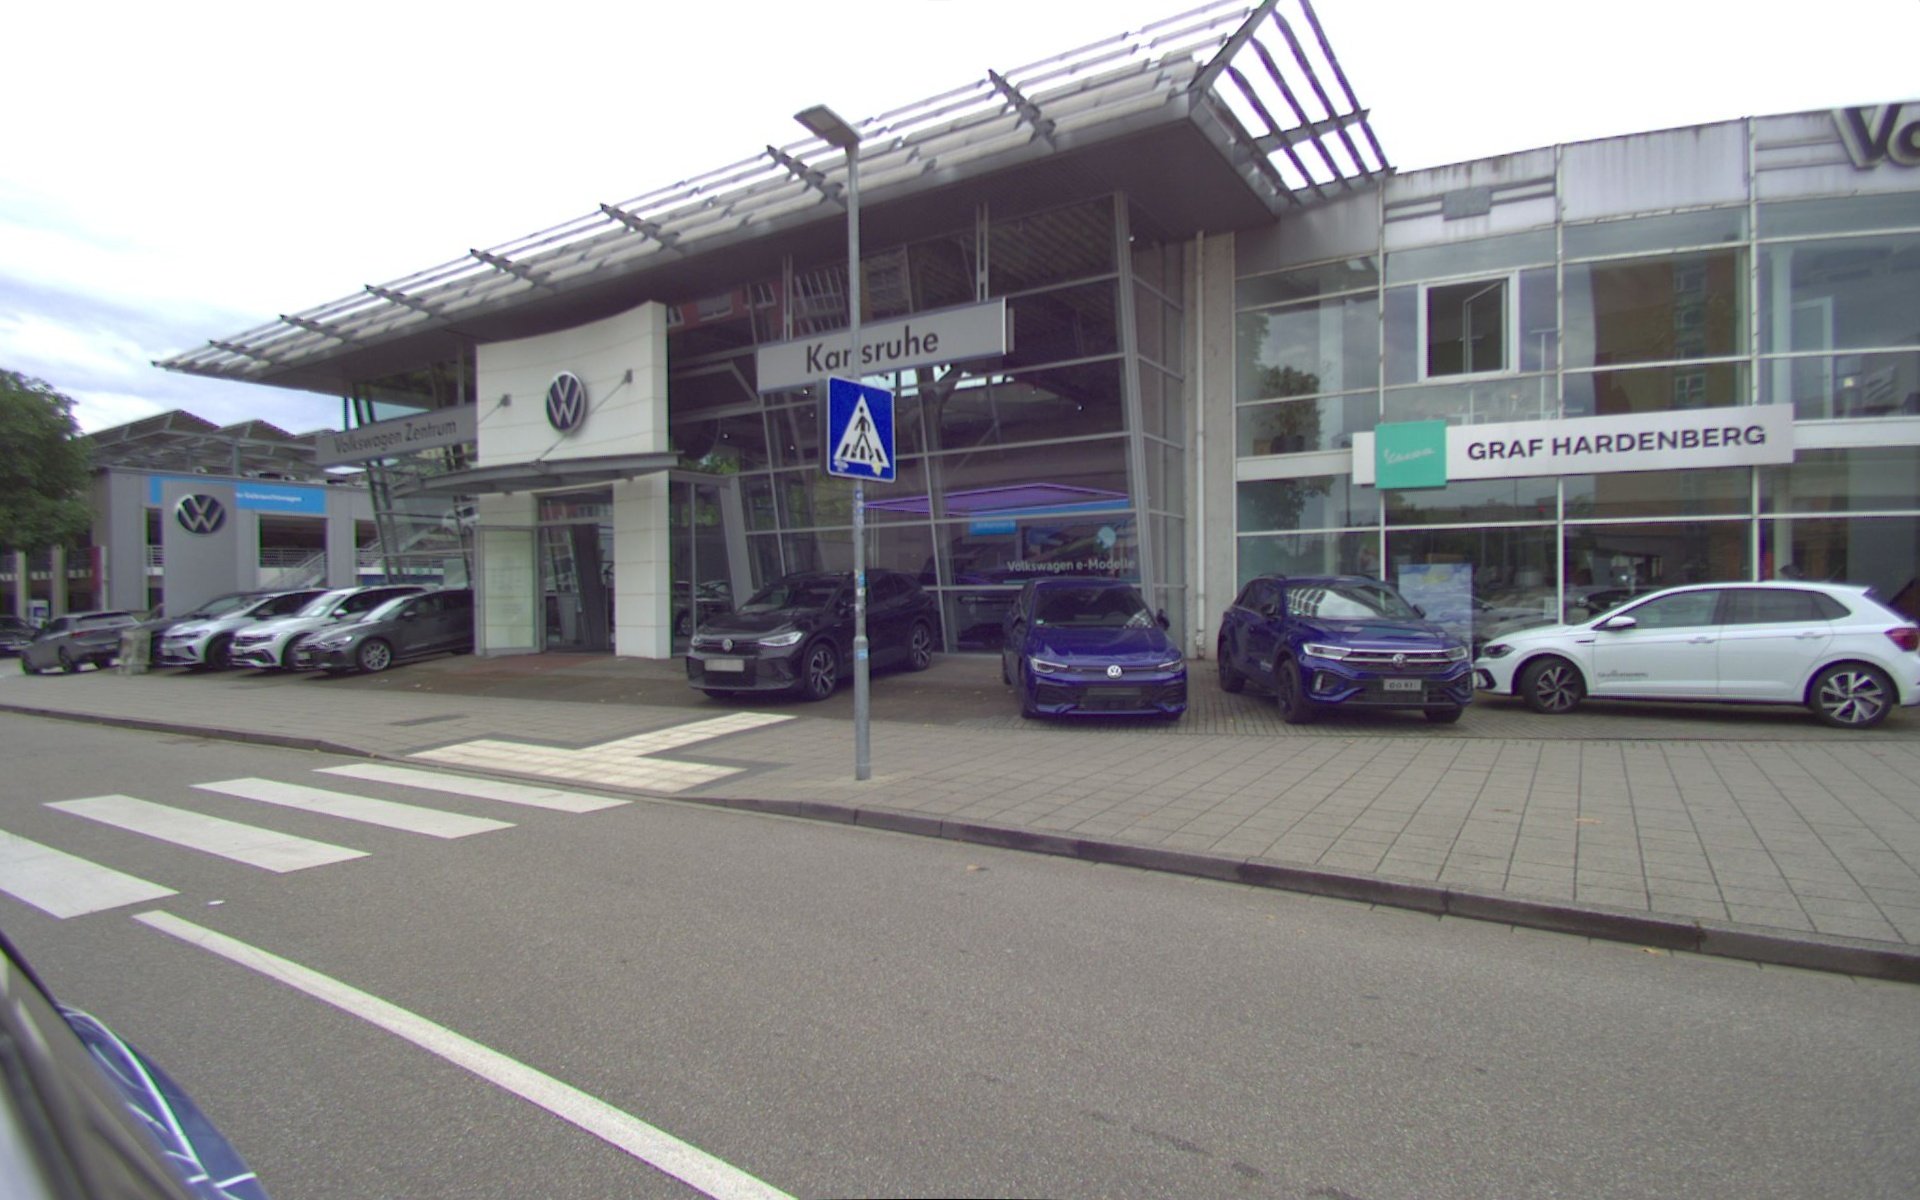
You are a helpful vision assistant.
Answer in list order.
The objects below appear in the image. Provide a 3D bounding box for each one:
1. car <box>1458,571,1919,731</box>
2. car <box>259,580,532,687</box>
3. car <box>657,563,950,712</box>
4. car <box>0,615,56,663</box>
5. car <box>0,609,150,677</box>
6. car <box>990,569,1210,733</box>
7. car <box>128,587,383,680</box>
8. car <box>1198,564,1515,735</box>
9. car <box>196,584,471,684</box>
[{"bbox_3d":[7.913,0.495,11.016,4.253,1.463,1.762,-1,-1,35],"label":"car"},{"bbox_3d":[-11.303,0.593,20.604,1.891,1.709,4.429,-2,3,31],"label":"car"},{"bbox_3d":[-2.003,0.409,14.459,1.851,1.644,4.471,-2,3,26],"label":"car"},{"bbox_3d":[-34.328,1.361,36.050,4.458,1.559,1.879,-1,1,30],"label":"car"},{"bbox_3d":[-23.146,1.107,26.338,3.999,1.575,1.900,-2,0,30],"label":"car"},{"bbox_3d":[1.445,0.435,12.104,1.831,1.515,4.342,-1,3,-3],"label":"car"},{"bbox_3d":[-16.231,0.702,23.568,1.864,1.712,4.428,-2,3,32],"label":"car"},{"bbox_3d":[4.202,0.448,11.555,1.874,1.574,4.221,-1,0,-1],"label":"car"},{"bbox_3d":[-13.523,0.658,22.181,1.855,1.712,4.725,-2,3,32],"label":"car"}]
